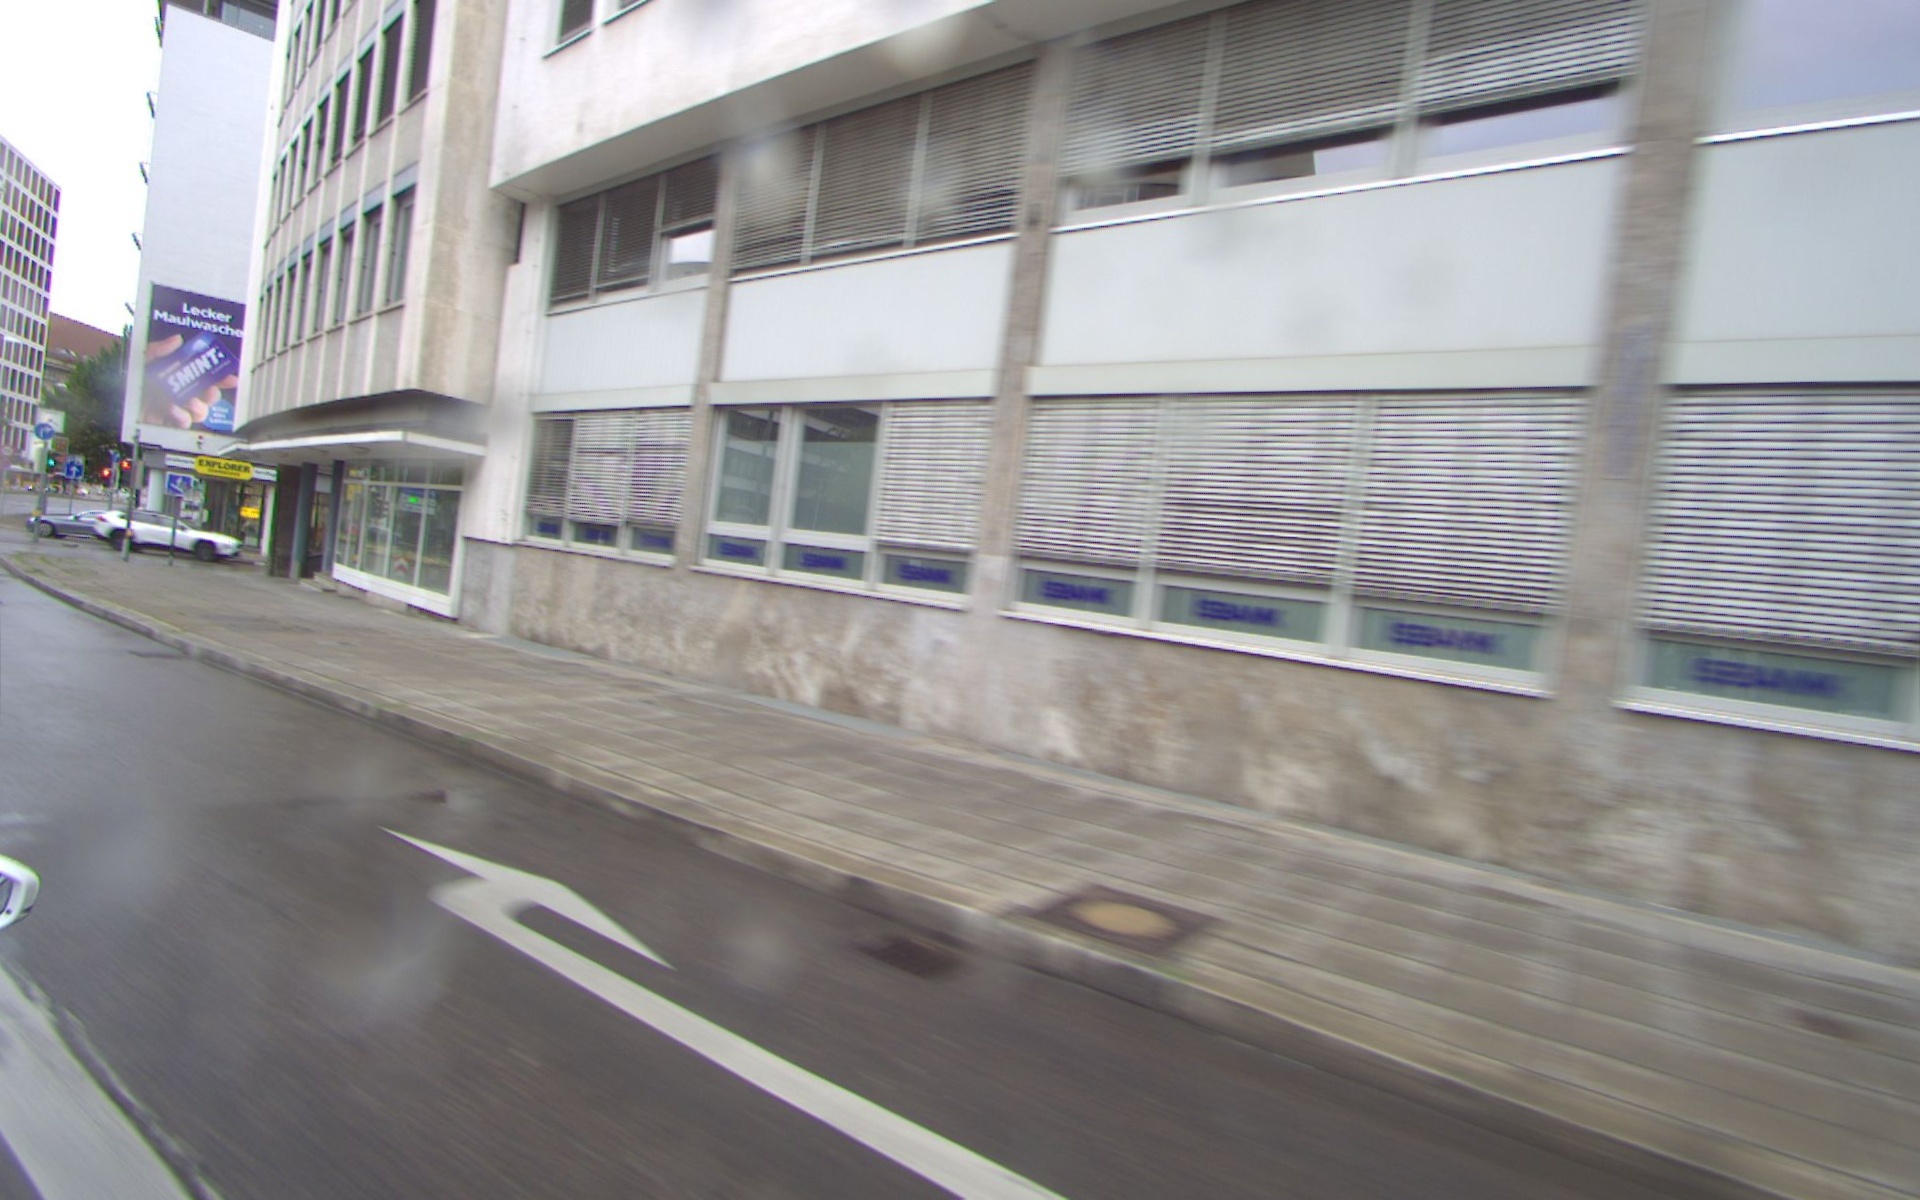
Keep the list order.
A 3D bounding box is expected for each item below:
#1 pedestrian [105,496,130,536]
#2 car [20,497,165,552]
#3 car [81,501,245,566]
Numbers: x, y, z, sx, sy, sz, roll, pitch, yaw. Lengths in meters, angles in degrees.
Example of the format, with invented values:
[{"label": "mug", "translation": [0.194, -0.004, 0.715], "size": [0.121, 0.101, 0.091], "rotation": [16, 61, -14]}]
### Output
[{"label": "pedestrian", "translation": [-38.347, -3.807, 45.805], "size": [0.724, 1.688, 0.683], "rotation": [7, 0, -41]}, {"label": "car", "translation": [-36.914, -3.176, 42.965], "size": [4.316, 1.527, 1.900], "rotation": [10, -2, -33]}, {"label": "car", "translation": [-31.206, -2.568, 39.564], "size": [4.470, 1.771, 1.990], "rotation": [8, -1, -21]}]
